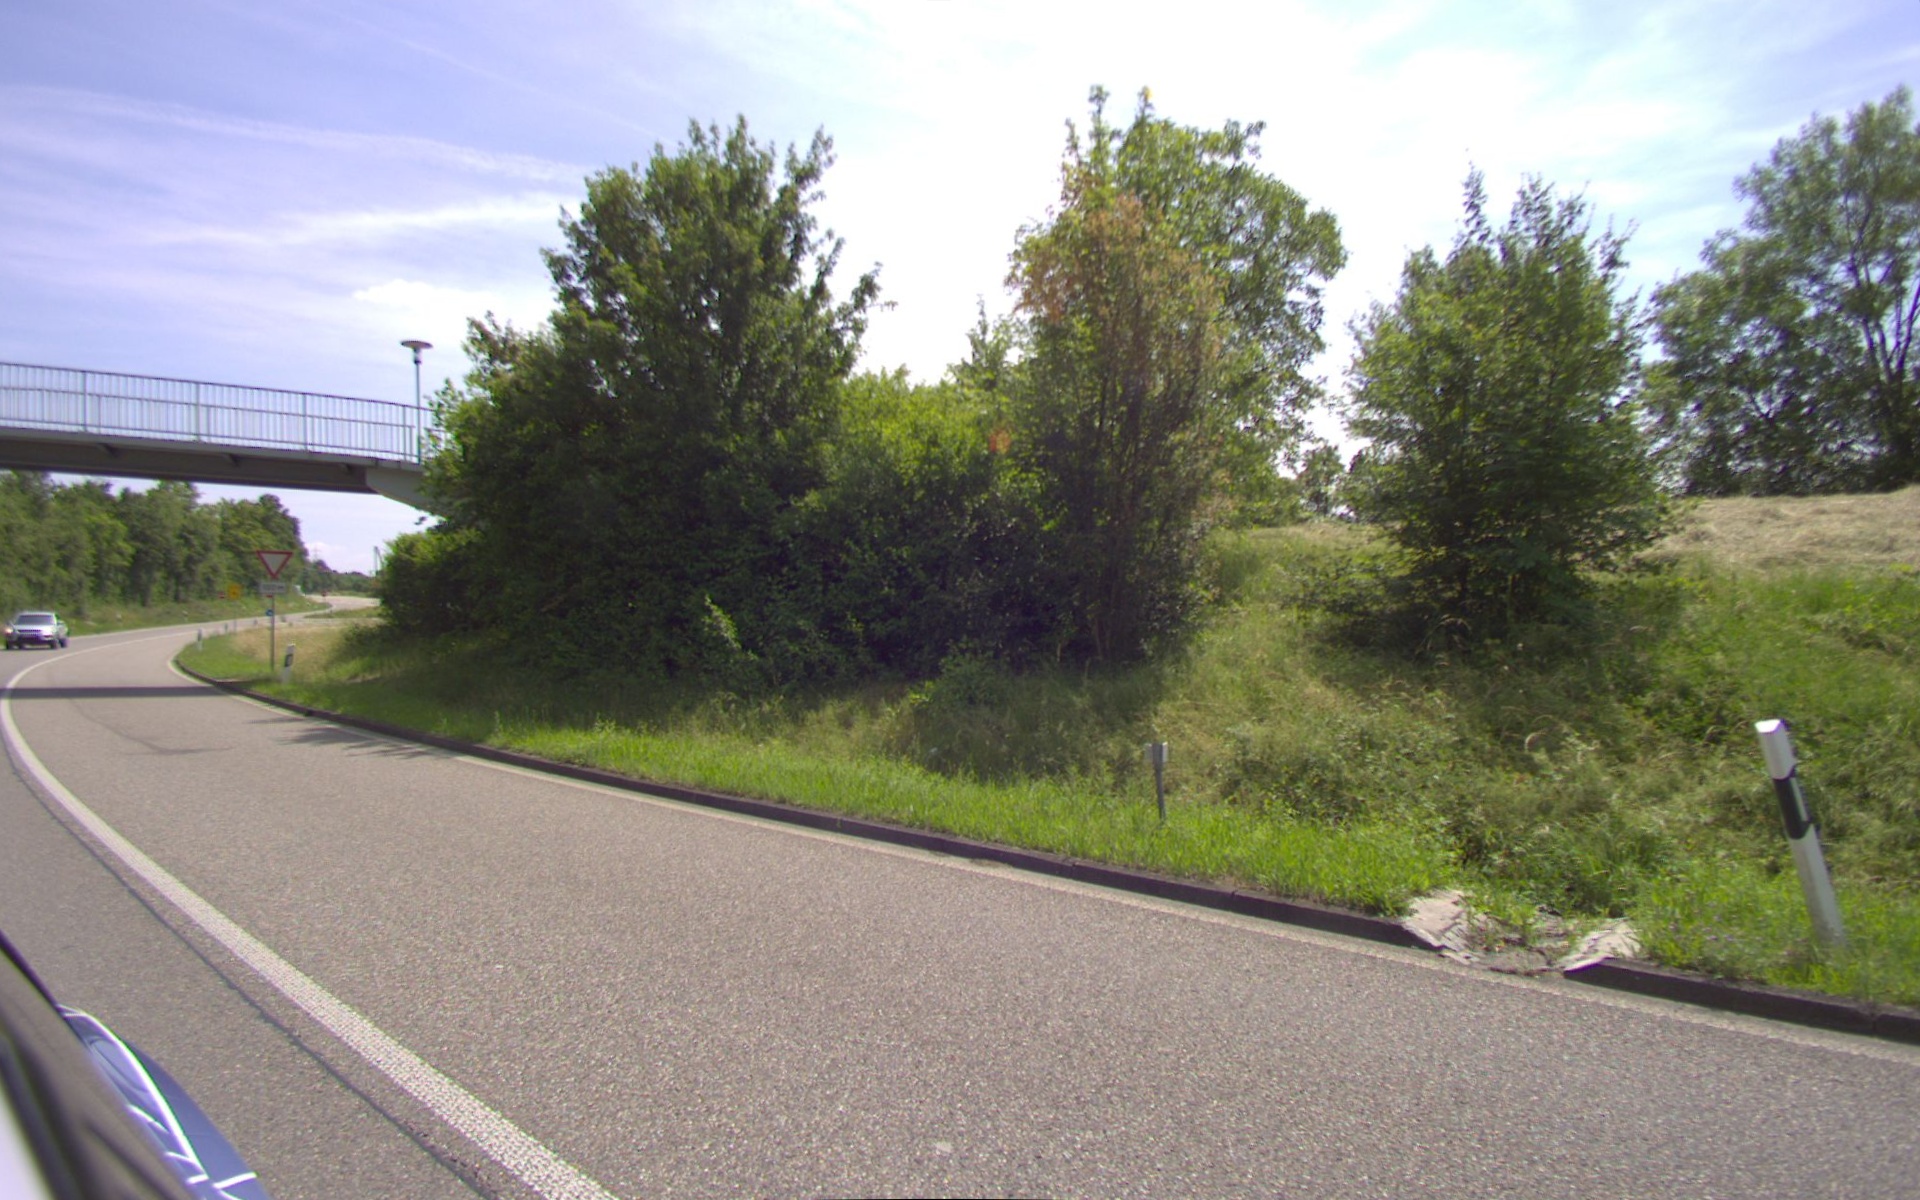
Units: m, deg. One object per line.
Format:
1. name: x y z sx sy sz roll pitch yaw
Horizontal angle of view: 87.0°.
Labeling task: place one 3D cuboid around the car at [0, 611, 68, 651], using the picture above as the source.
1. car: -42.479 1.396 46.376 1.819 1.721 4.100 0 0 -33
